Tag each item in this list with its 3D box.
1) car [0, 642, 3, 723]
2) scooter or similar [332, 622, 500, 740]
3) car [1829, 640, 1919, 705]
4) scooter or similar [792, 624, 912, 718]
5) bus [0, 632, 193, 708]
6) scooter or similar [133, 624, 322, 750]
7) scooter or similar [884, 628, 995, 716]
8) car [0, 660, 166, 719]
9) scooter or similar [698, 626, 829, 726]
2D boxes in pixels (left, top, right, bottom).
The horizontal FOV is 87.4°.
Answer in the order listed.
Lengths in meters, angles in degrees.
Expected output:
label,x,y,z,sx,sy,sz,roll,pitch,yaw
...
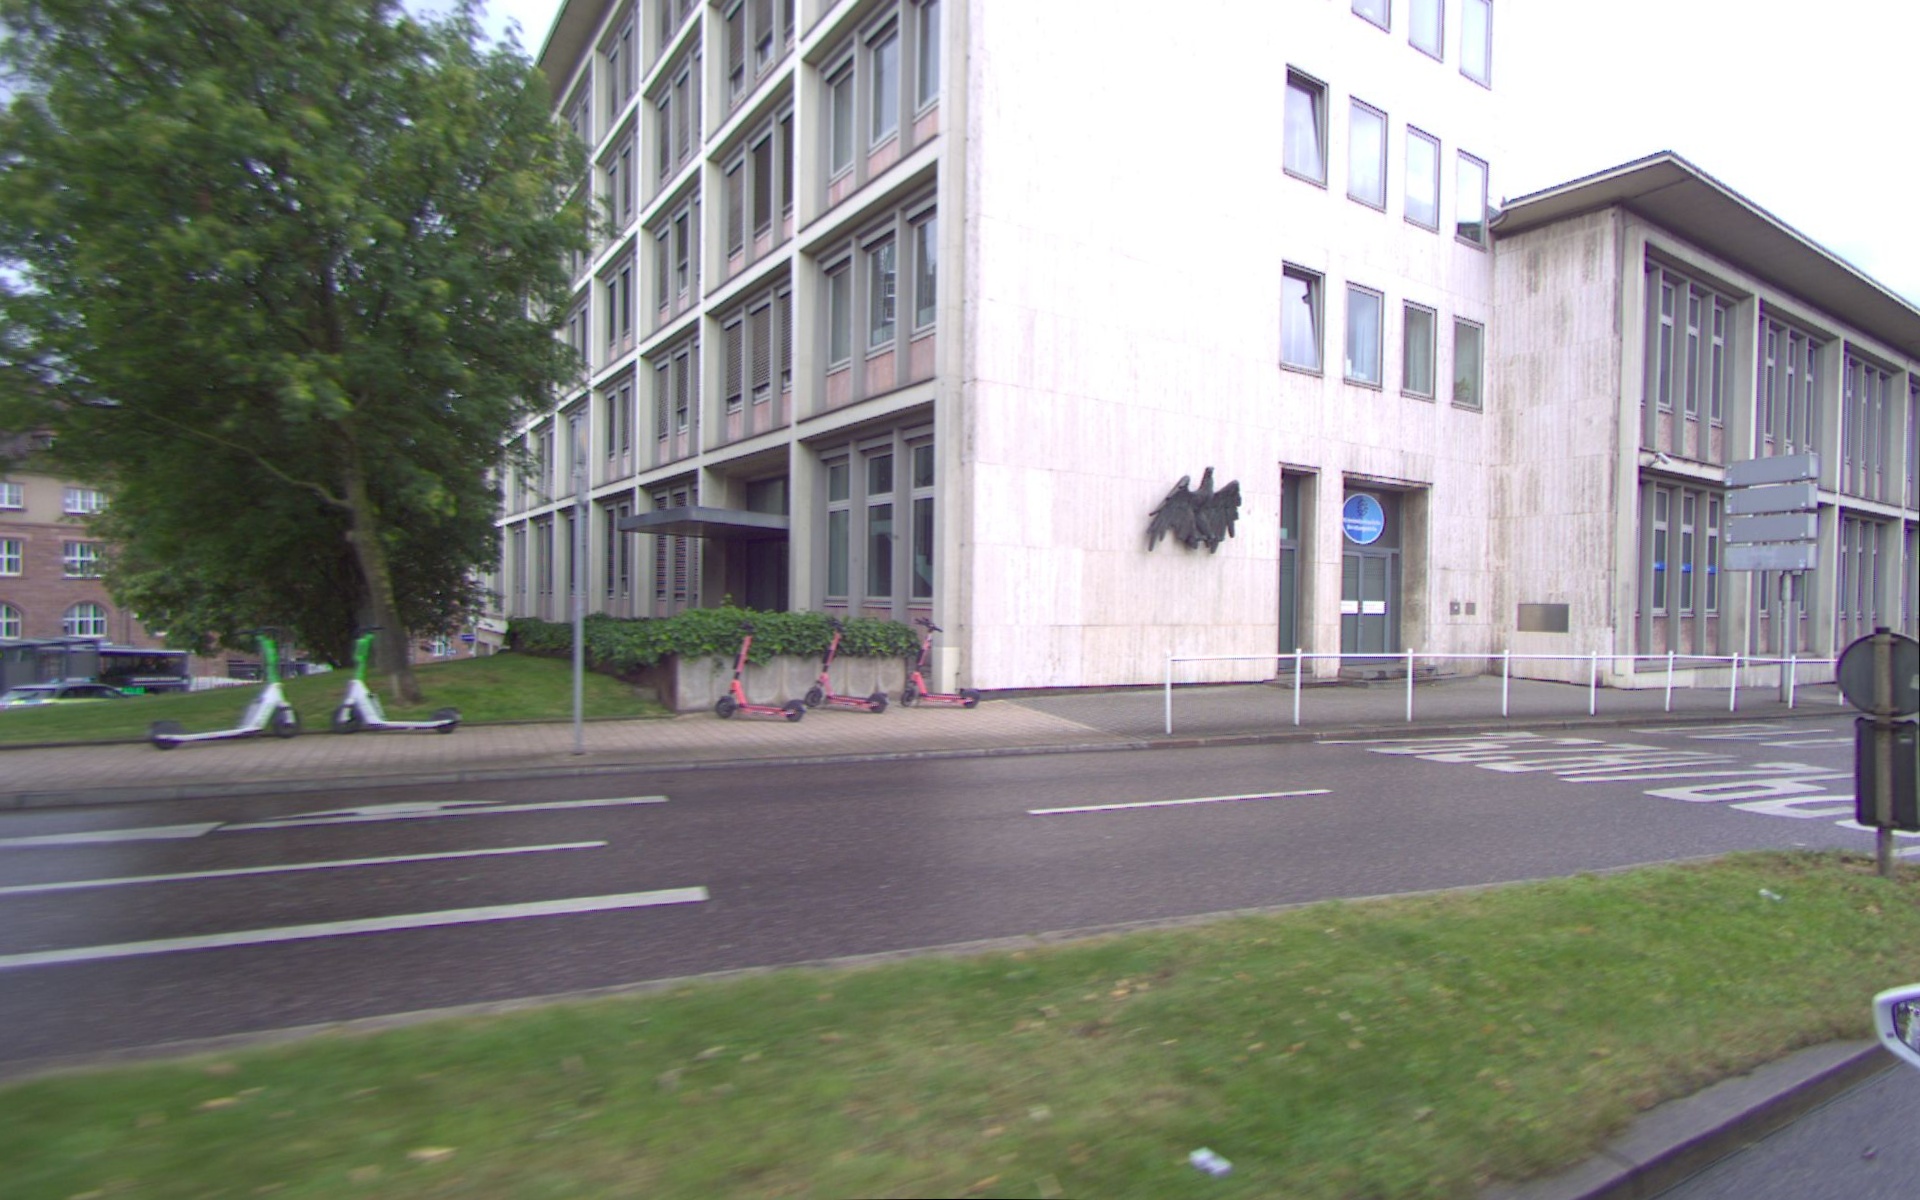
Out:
label,x,y,z,sx,sy,sz,roll,pitch,yaw
car,-24.252,1.941,22.346,1.964,1.990,4.582,1,-2,-9
scooter or similar,-5.902,0.854,10.974,1.554,1.208,0.568,1,-1,-27
car,21.755,1.621,22.841,4.042,1.315,1.684,2,0,-28
scooter or similar,-1.431,0.943,13.476,1.497,1.208,0.609,1,-1,3
bus,-43.614,3.306,50.600,2.838,3.237,11.950,1,-1,-11
scooter or similar,-7.317,0.844,10.103,1.487,1.183,0.485,1,-1,-34
scooter or similar,-0.270,0.992,14.079,1.497,1.180,0.609,1,-1,3
car,-25.243,2.480,28.716,1.964,1.438,4.582,1,-2,-9
scooter or similar,-2.450,0.939,12.634,1.497,1.208,0.609,1,-1,3
